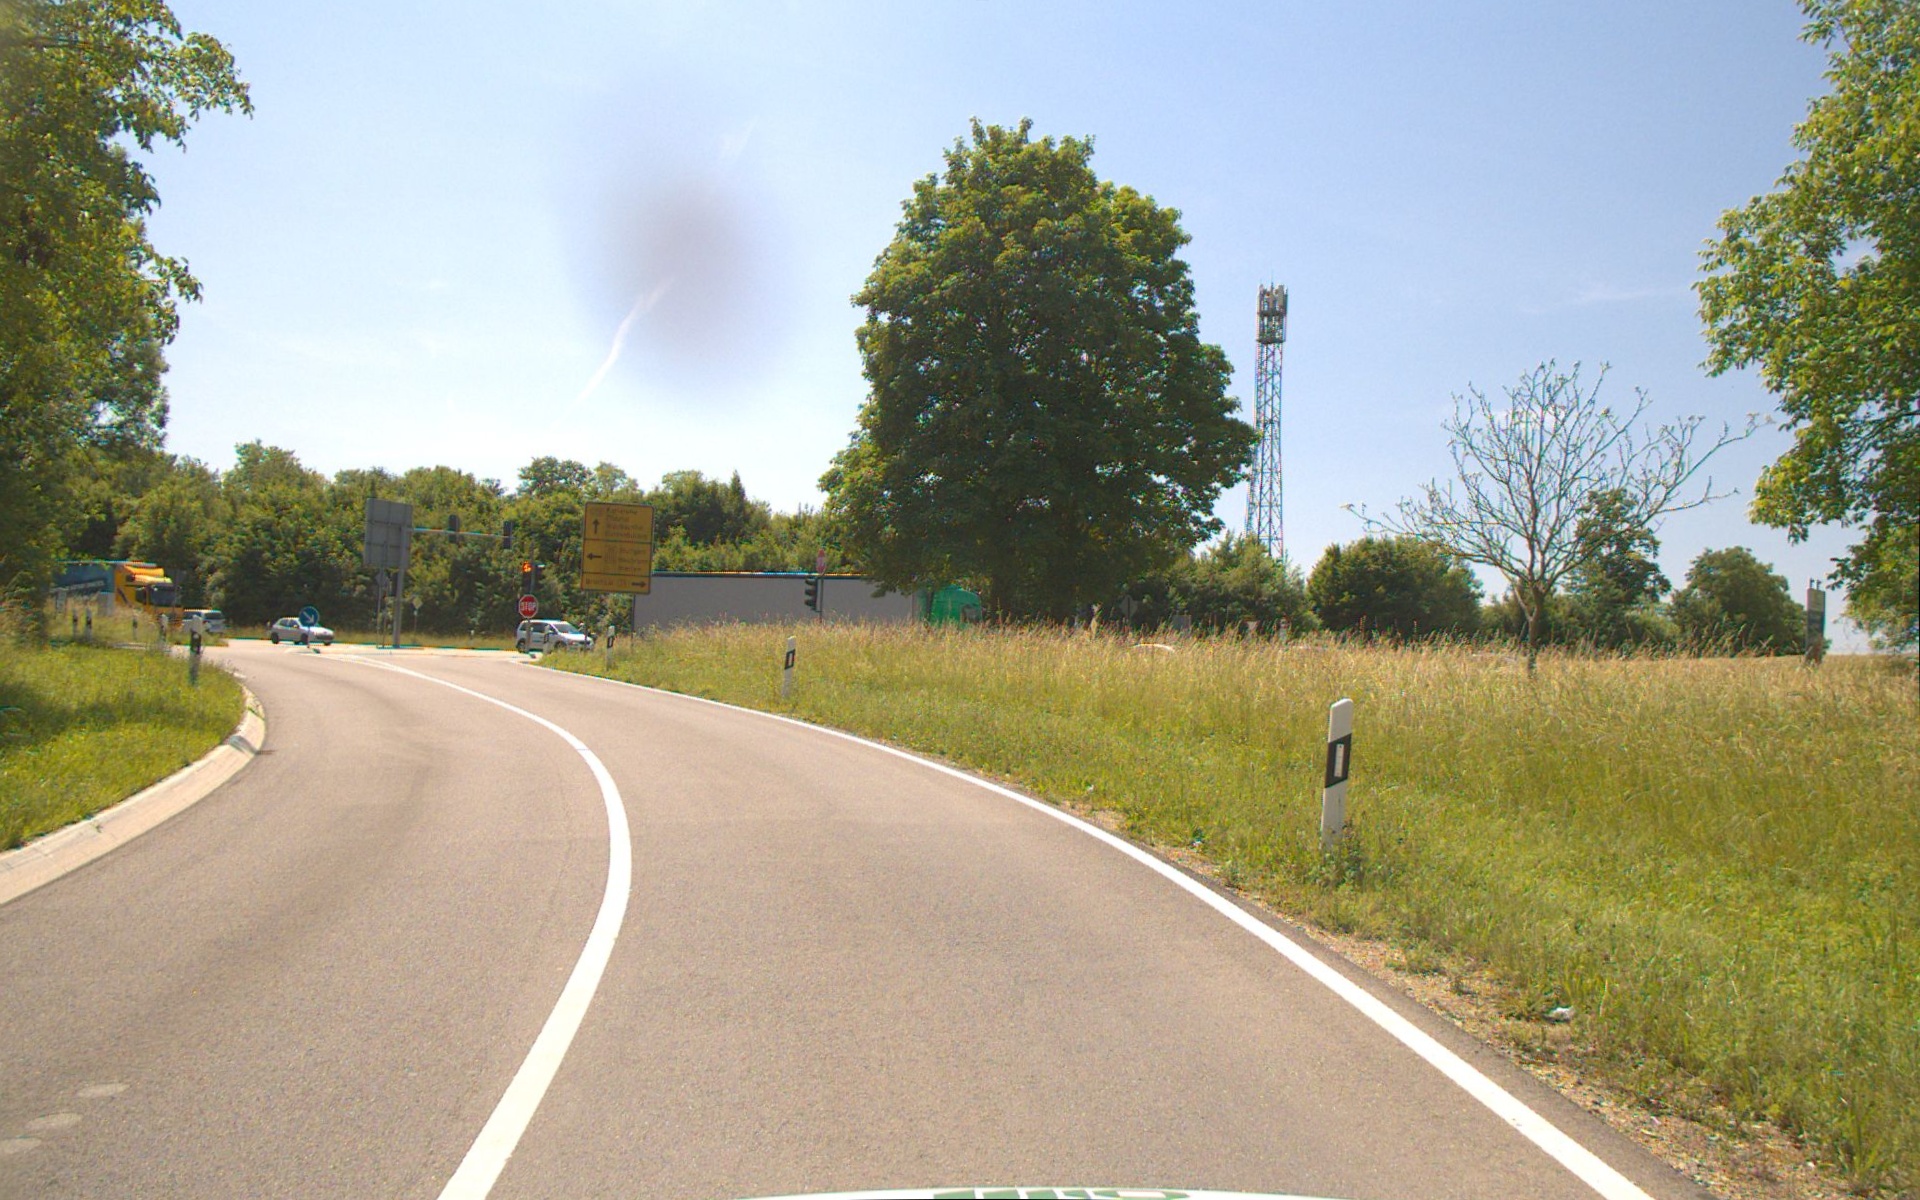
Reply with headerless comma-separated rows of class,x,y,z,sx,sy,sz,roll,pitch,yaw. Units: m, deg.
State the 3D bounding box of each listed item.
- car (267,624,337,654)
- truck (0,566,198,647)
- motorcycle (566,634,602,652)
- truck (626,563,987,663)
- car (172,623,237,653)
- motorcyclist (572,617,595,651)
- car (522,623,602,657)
car,-35.808,2.092,90.014,3.832,1.603,1.655,0,-1,33
truck,-50.041,0.308,93.279,16.425,4.204,2.849,1,-2,25
motorcycle,-20.368,2.334,89.601,1.828,0.980,0.731,-1,-1,23
truck,-7.058,0.570,76.196,16.276,4.246,3.138,1,-2,11
car,-45.896,2.314,100.432,3.573,1.736,1.628,-1,0,25
motorcyclist,-20.394,1.839,89.636,0.877,1.876,0.839,0,-1,21
car,-19.336,1.929,80.321,3.609,1.603,1.722,0,-1,30
